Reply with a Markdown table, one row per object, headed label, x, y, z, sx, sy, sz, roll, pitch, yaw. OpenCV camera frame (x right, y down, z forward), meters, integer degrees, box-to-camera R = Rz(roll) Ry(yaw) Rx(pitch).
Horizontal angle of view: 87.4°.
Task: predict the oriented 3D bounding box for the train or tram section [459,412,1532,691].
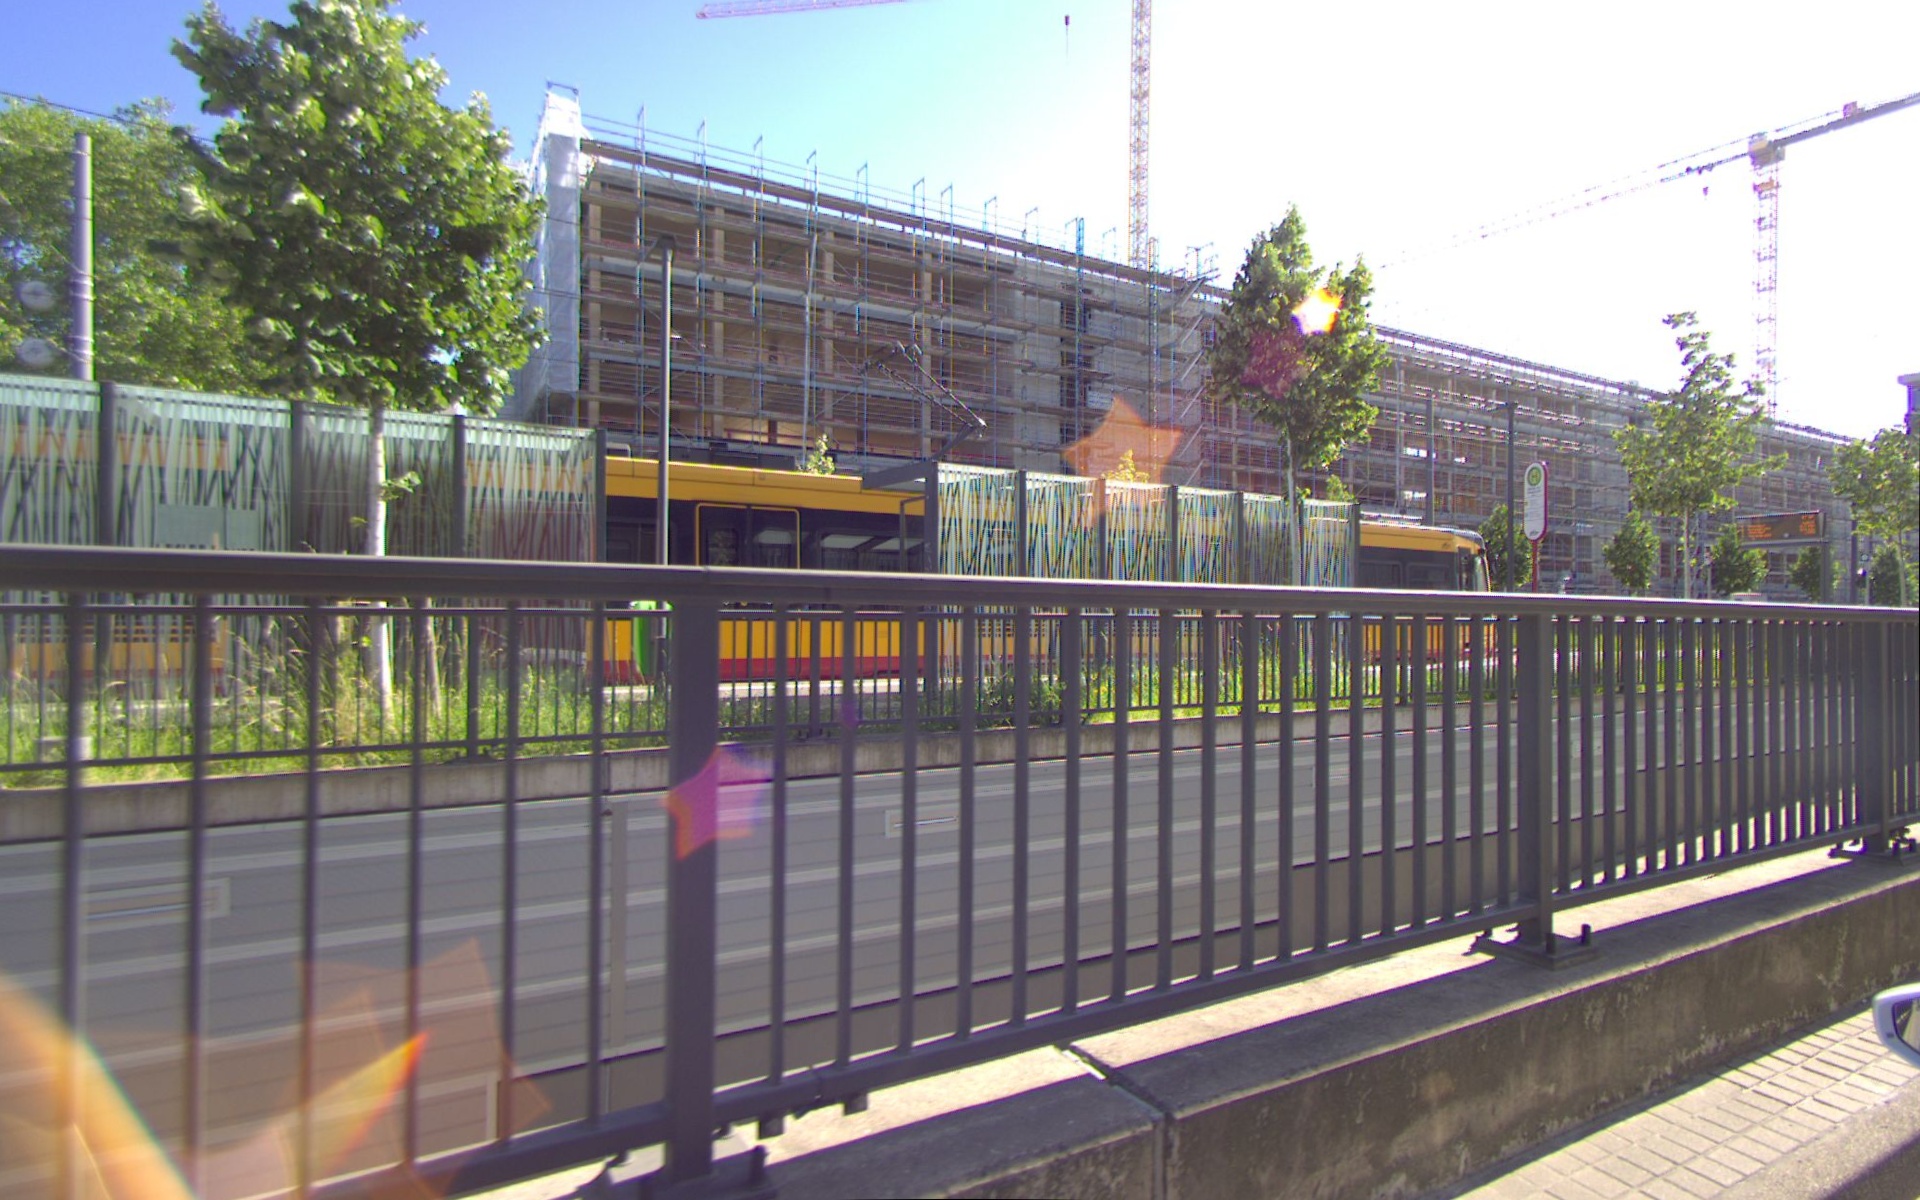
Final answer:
| label | x | y | z | sx | sy | sz | roll | pitch | yaw |
| --- | --- | --- | --- | --- | --- | --- | --- | --- | --- |
| train or tram section | 2.935 | -0.461 | 18.758 | 21.881 | 3.323 | 2.856 | 1 | 1 | -30 |

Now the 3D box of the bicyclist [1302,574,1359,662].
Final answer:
| label | x | y | z | sx | sy | sz | roll | pitch | yaw |
| --- | --- | --- | --- | --- | --- | --- | --- | --- | --- |
| bicyclist | 6.571 | 0.318 | 17.832 | 0.843 | 1.511 | 0.535 | 1 | -1 | -30 |

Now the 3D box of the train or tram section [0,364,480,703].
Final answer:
| label | x | y | z | sx | sy | sz | roll | pitch | yaw |
| --- | --- | --- | --- | --- | --- | --- | --- | --- | --- |
| train or tram section | -12.928 | -0.722 | 9.472 | 15.005 | 3.323 | 2.856 | 1 | 1 | -30 |

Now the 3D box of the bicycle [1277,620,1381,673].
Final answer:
| label | x | y | z | sx | sy | sz | roll | pitch | yaw |
| --- | --- | --- | --- | --- | --- | --- | --- | --- | --- |
| bicycle | 6.563 | 0.808 | 17.828 | 2.063 | 0.897 | 0.535 | 1 | -1 | -30 |
